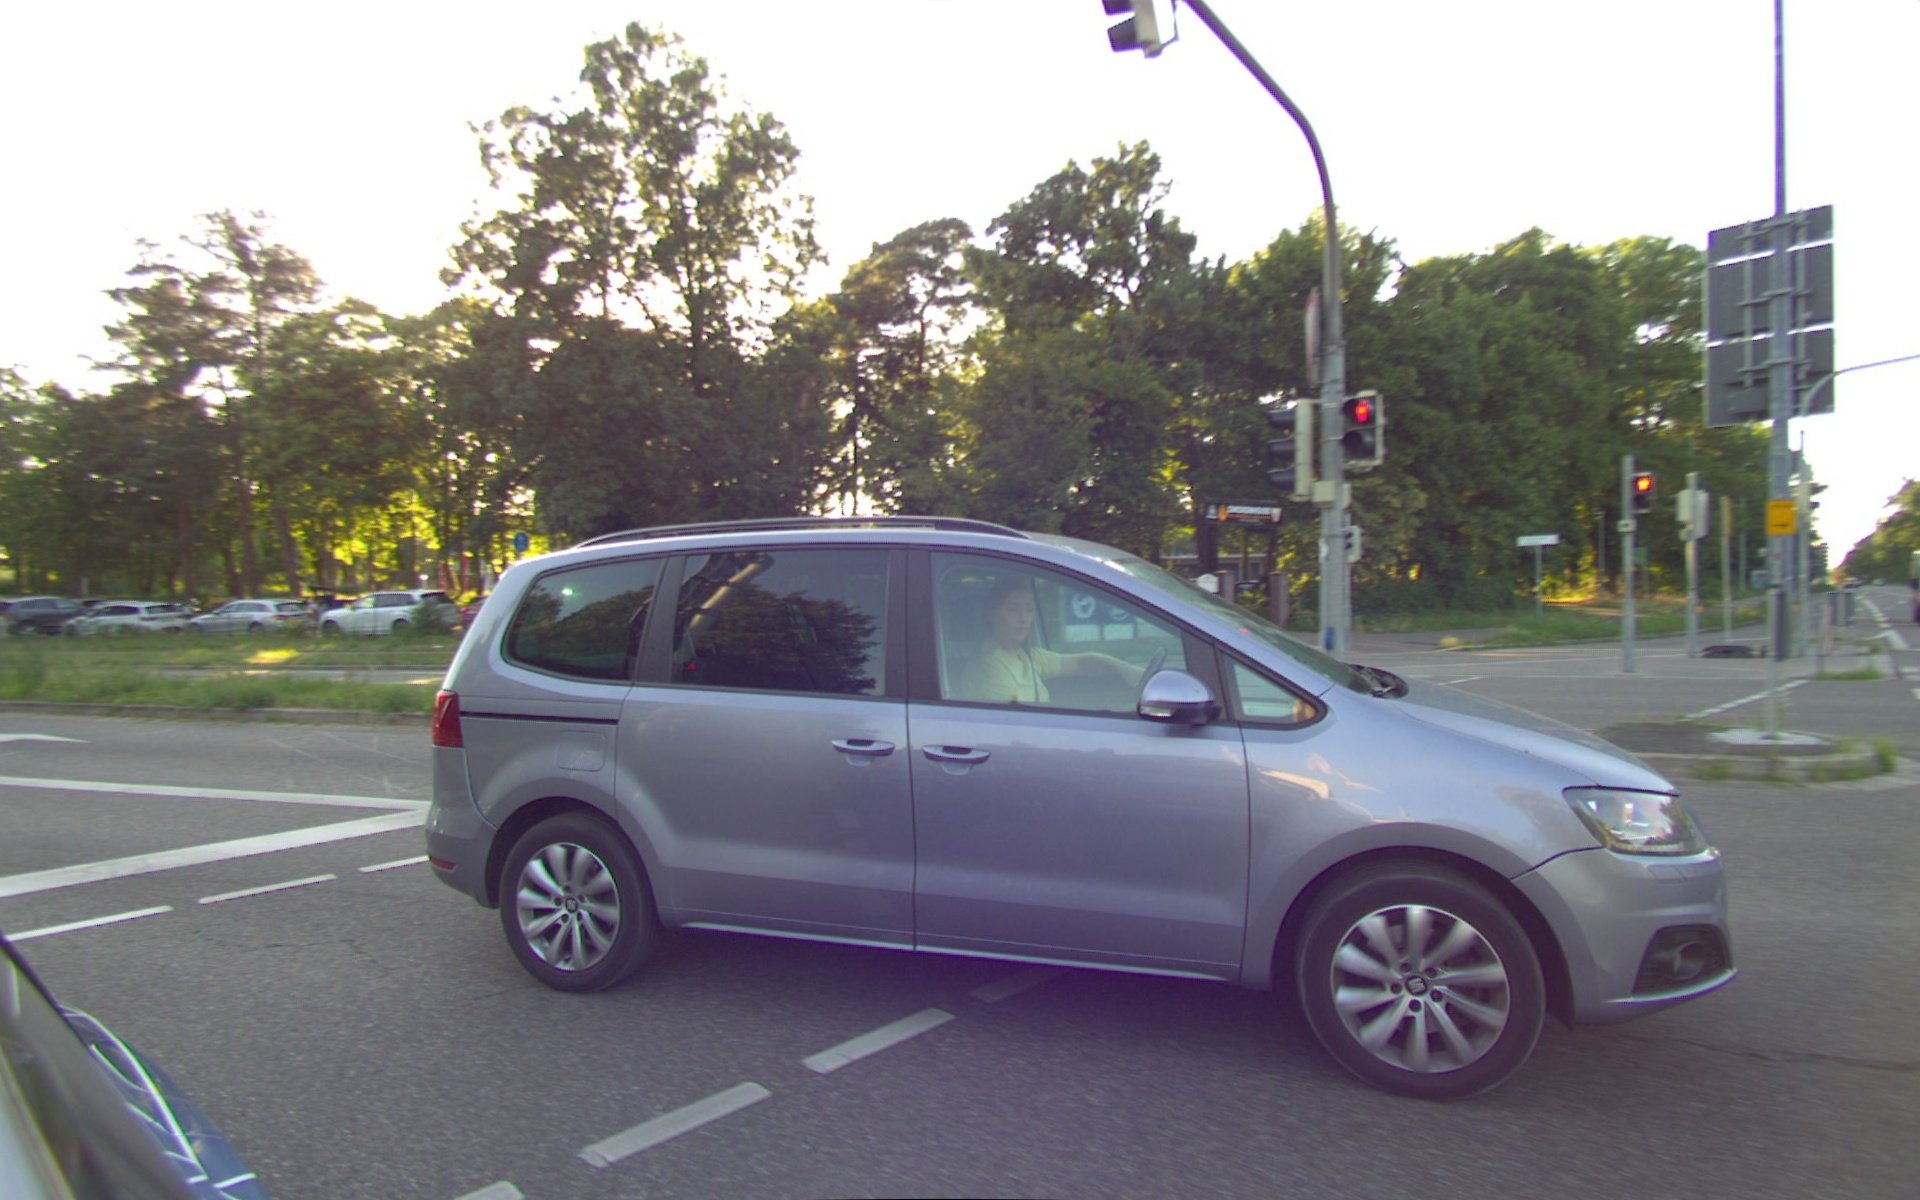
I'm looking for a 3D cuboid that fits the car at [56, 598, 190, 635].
[{"bbox_3d":[-32.318,0.630,39.090,4.455,1.334,1.672,-1,1,14],"label":"car"}]

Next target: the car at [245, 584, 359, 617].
[{"bbox_3d":[-30.392,0.020,46.781,4.503,1.417,1.857,-1,1,14],"label":"car"}]

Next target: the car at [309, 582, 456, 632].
[{"bbox_3d":[-20.418,0.230,35.816,4.503,1.671,1.857,-1,0,14],"label":"car"}]

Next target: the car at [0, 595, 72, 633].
[{"bbox_3d":[-39.138,0.576,41.263,1.982,1.464,3.981,-1,1,15],"label":"car"}]

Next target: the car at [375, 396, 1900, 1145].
[{"bbox_3d":[0.263,0.425,3.983,4.622,1.737,1.861,-1,0,19],"label":"car"}]

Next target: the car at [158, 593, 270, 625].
[{"bbox_3d":[-35.632,0.428,48.378,4.503,1.417,1.857,-1,1,14],"label":"car"}]

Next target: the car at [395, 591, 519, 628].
[{"bbox_3d":[-21.024,0.392,42.345,4.503,1.417,1.857,-1,1,14],"label":"car"}]

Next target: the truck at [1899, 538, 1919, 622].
[{"bbox_3d":[32.213,-0.755,32.676,2.605,2.576,5.941,0,3,42],"label":"truck"}]

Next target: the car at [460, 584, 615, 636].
[{"bbox_3d":[-14.153,0.327,34.054,4.489,1.671,1.863,0,1,4],"label":"car"}]

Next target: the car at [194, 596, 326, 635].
[{"bbox_3d":[-25.764,0.562,37.302,3.961,1.342,1.857,-1,1,14],"label":"car"}]

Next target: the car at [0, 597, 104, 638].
[{"bbox_3d":[-36.104,0.663,39.328,1.748,1.490,4.025,-1,1,19],"label":"car"}]

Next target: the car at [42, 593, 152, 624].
[{"bbox_3d":[-42.601,0.428,49.977,4.503,1.417,1.857,-1,1,14],"label":"car"}]
